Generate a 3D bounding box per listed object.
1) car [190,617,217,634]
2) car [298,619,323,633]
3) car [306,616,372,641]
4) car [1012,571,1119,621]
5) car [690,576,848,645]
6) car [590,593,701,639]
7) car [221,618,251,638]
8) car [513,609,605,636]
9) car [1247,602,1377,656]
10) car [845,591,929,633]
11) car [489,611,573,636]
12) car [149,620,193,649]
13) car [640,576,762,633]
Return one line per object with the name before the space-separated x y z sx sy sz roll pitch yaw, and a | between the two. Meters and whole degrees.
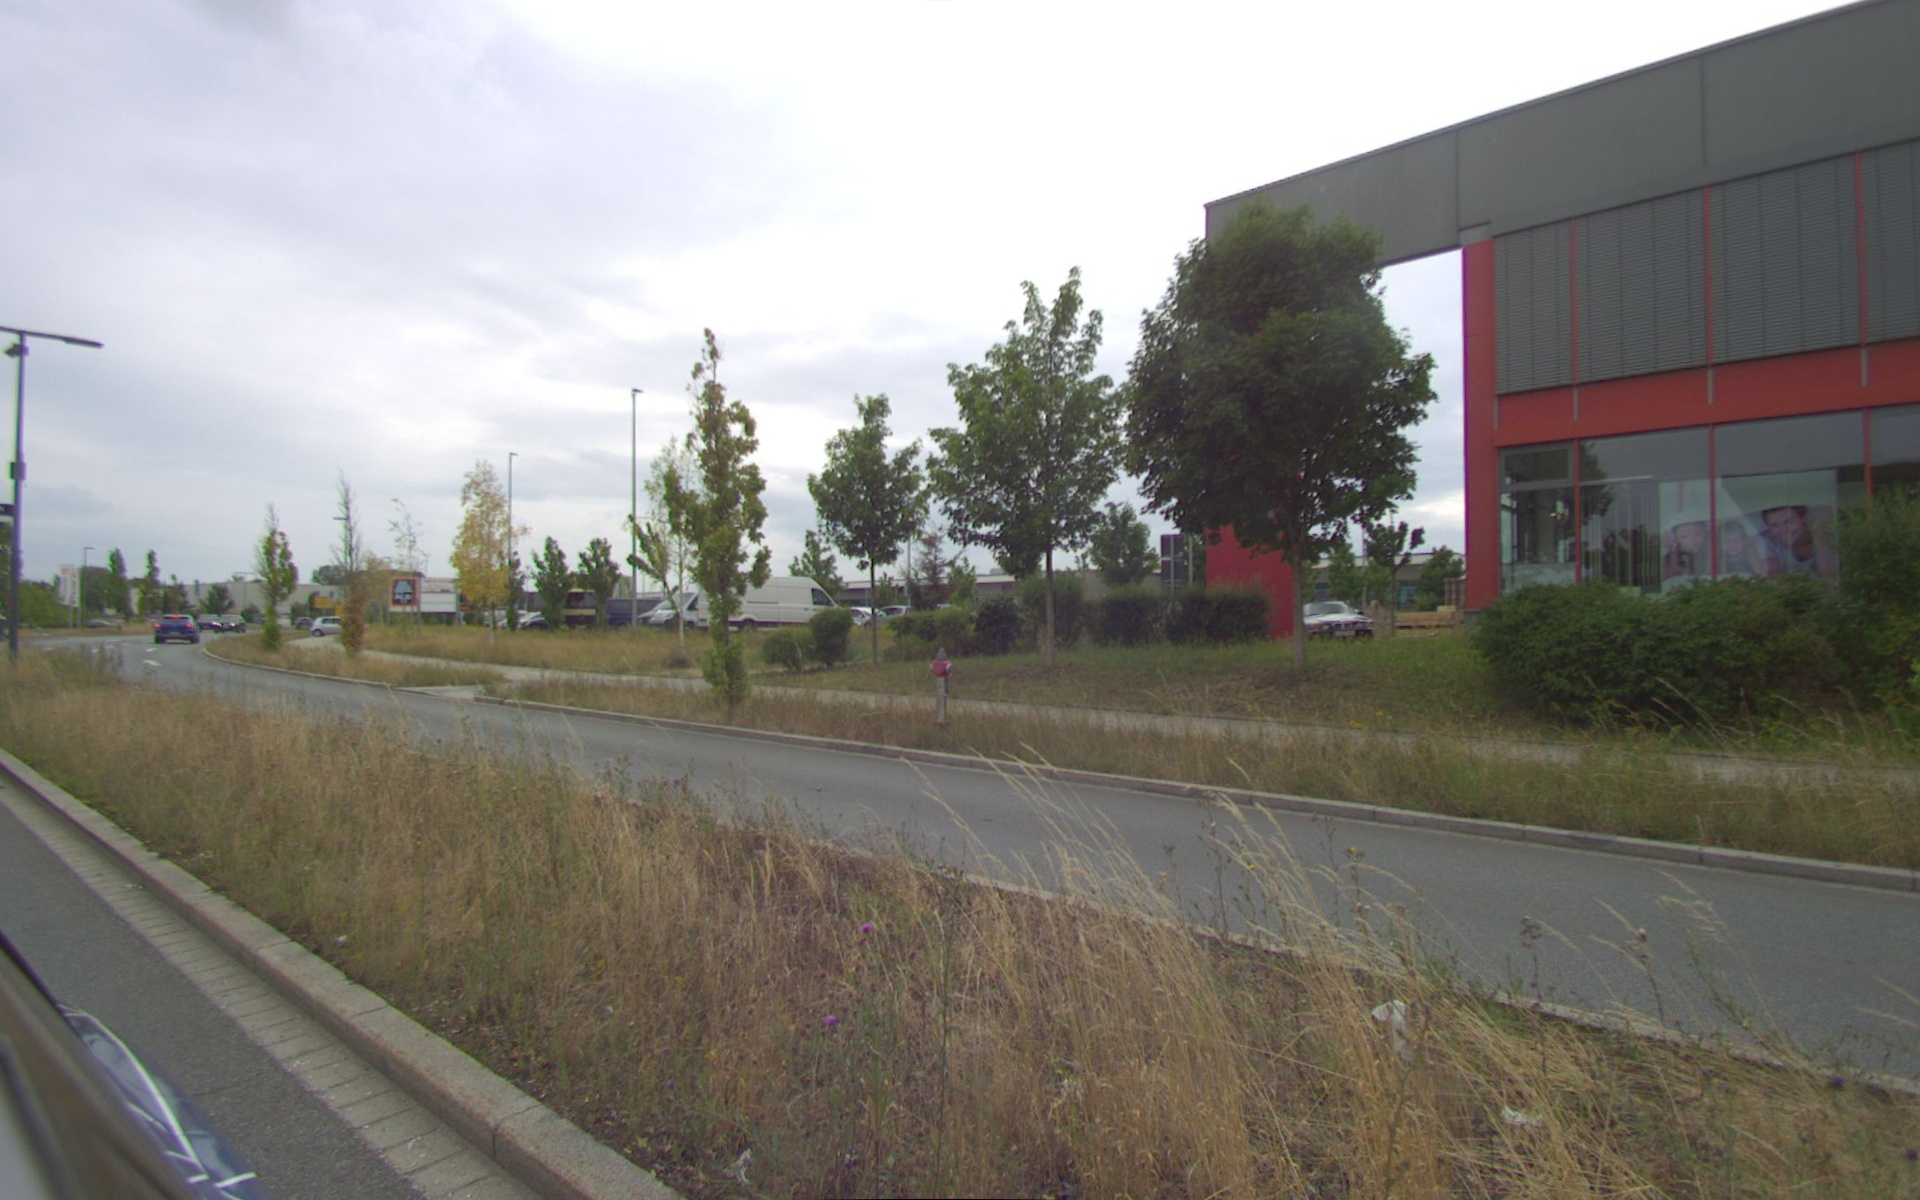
car | -72.785 2.432 97.323 1.968 1.586 4.008 0 0 -38
car | -69.405 2.796 108.206 1.704 1.504 4.013 1 -2 -26
car | -46.578 2.125 75.965 3.931 1.683 2.006 -1 -1 -22
car | 5.285 -0.166 50.965 5.049 2.391 2.039 0 0 37
car | -7.718 0.382 41.581 2.066 2.644 6.326 -1 0 45
car | -15.940 0.846 51.391 4.979 2.240 2.067 2 -2 -42
car | -63.220 2.447 88.394 1.966 1.586 4.011 0 0 -33
car | -25.185 1.427 63.615 4.976 1.669 2.068 2 -2 -39
car | 8.881 0.696 25.619 2.860 1.279 1.245 0 0 42
car | -4.349 0.695 59.814 5.055 2.391 2.036 0 0 41
car | -29.615 1.648 69.947 4.976 1.669 2.068 2 -2 -39
car | -43.697 1.895 56.009 1.707 1.524 4.006 2 -2 -40
car | -11.457 0.163 45.002 2.064 2.391 4.988 0 0 41
